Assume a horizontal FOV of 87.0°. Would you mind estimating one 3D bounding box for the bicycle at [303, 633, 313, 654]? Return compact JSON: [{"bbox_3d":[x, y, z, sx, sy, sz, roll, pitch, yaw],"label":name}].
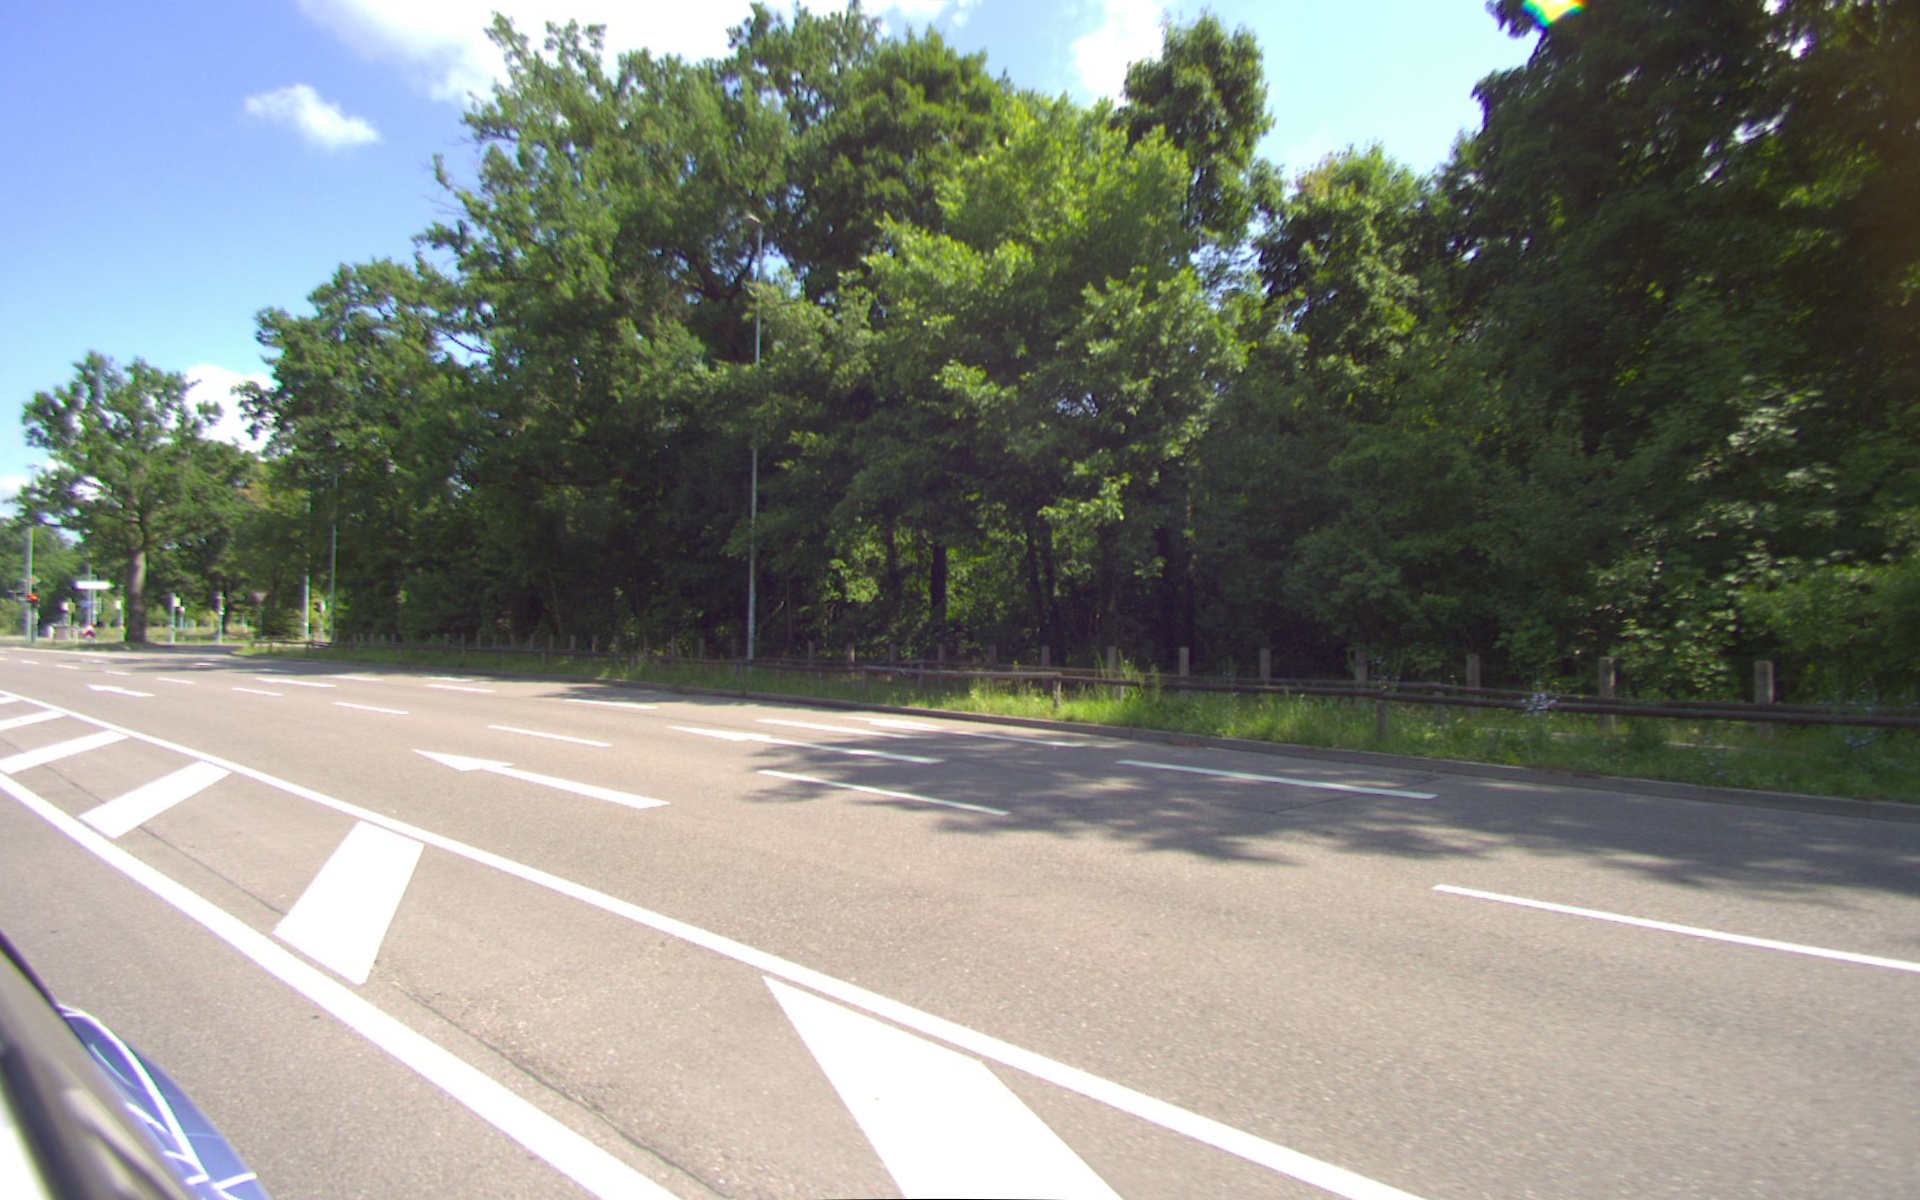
[{"bbox_3d":[-37.014,2.459,57.447,0.414,1.182,1.233,0,-1,-31],"label":"bicycle"}]
